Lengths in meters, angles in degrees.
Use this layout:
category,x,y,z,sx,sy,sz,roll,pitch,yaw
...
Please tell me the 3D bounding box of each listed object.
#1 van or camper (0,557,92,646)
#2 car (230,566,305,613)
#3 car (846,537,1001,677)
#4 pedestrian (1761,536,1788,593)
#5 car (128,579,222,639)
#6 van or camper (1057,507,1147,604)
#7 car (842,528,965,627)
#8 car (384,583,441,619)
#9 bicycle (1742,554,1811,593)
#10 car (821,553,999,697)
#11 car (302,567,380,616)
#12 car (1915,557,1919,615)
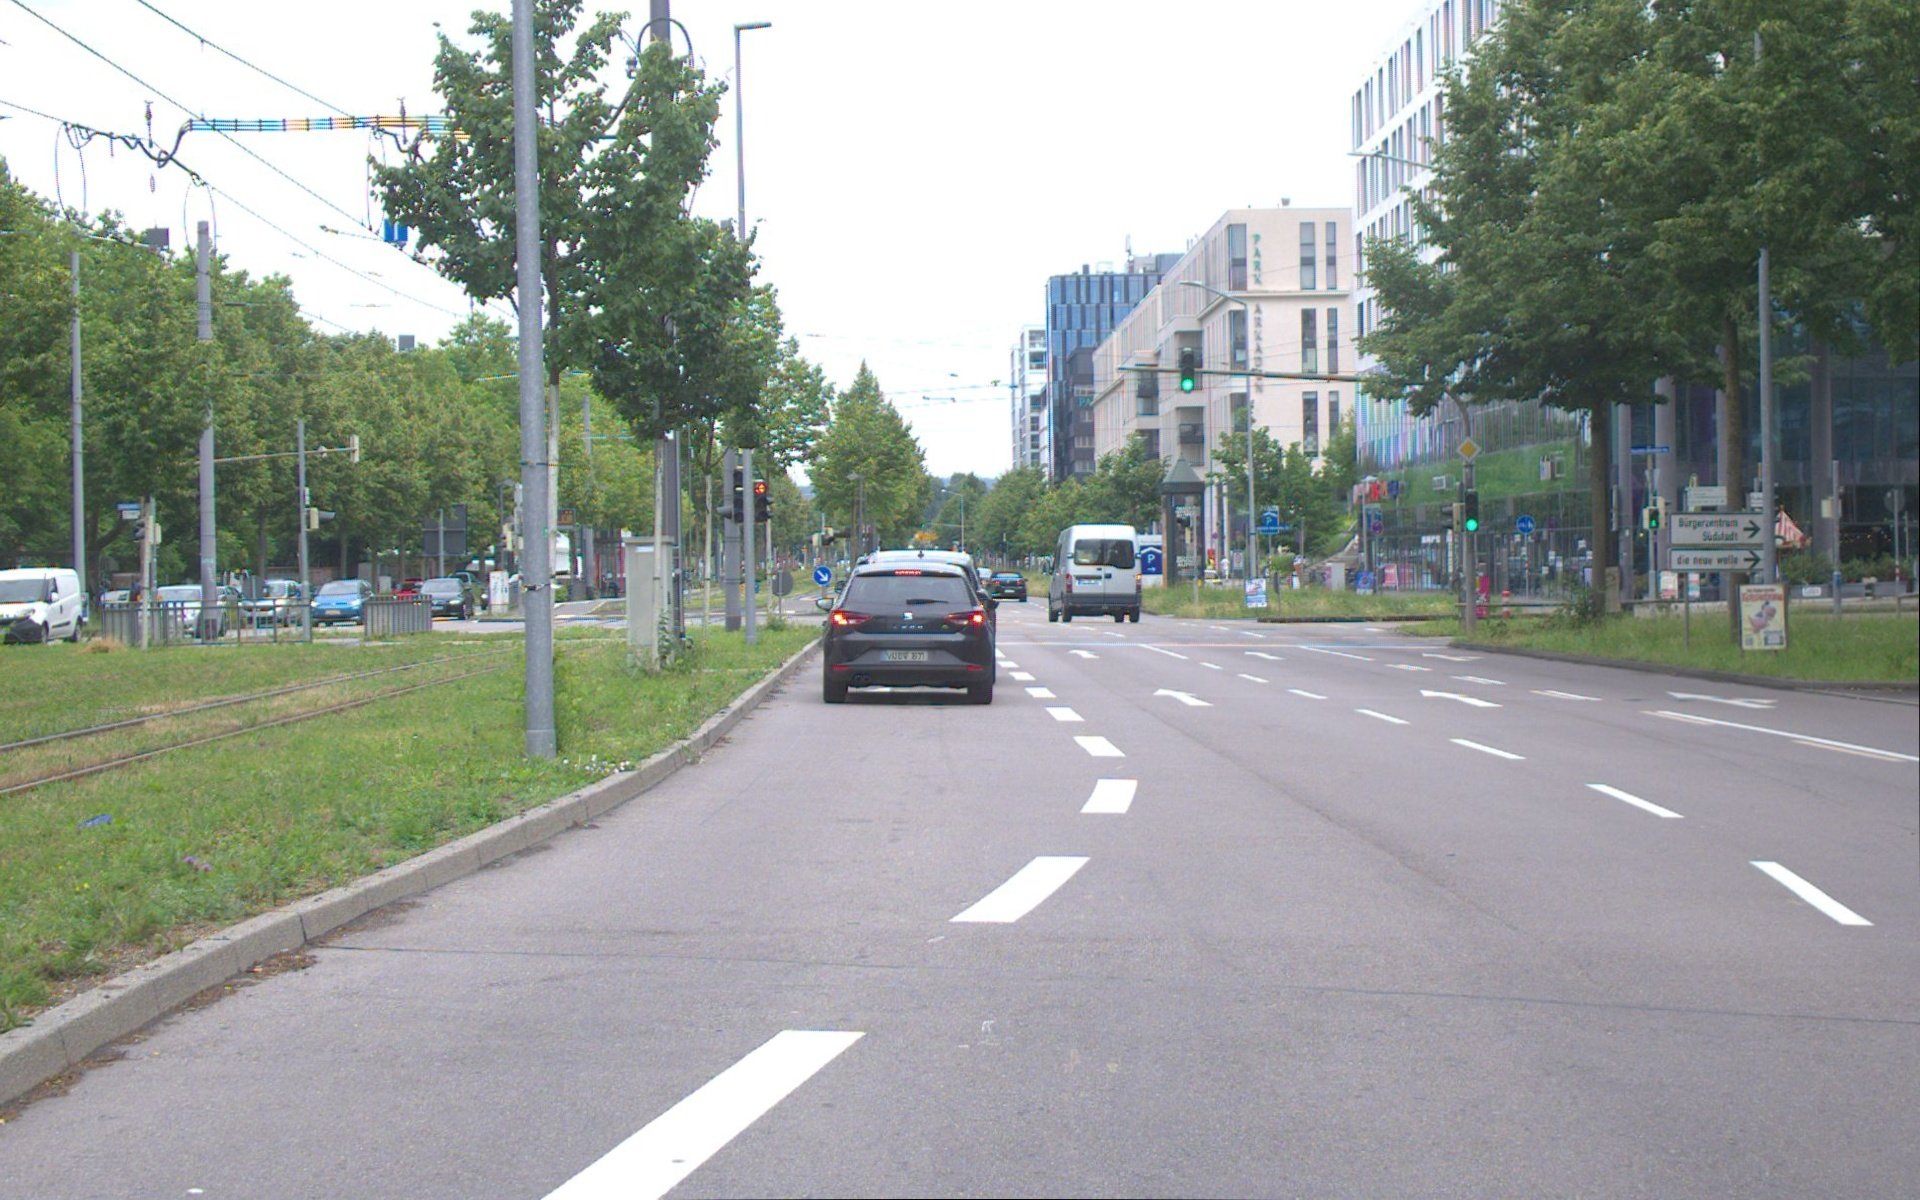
category,x,y,z,sx,sy,sz,roll,pitch,yaw
van or camper,-21.052,0.022,77.281,1.889,1.894,5.125,-2,1,-2
car,-23.987,-0.350,119.198,1.796,1.565,4.579,2,0,-3
car,-0.446,0.058,42.381,1.802,1.619,4.000,-1,1,-1
pedestrian,22.950,-1.002,96.923,0.614,1.599,0.618,-1,1,2
car,-21.104,0.221,92.564,1.728,1.440,4.923,-3,1,-5
van or camper,3.630,-1.178,88.687,2.109,2.348,4.923,0,2,0
car,-0.967,-0.422,60.933,1.993,1.676,4.000,1,1,2
car,-24.801,0.026,155.847,1.796,1.565,4.328,-1,1,1
bicycle,23.015,-0.741,96.928,1.792,1.082,0.618,-1,1,2
car,-0.543,0.220,36.085,1.743,1.412,4.000,1,1,-1
car,-20.932,-0.299,116.473,1.964,1.583,4.689,0,1,-2
car,28.791,-0.414,95.114,4.251,1.609,1.758,-1,1,1
